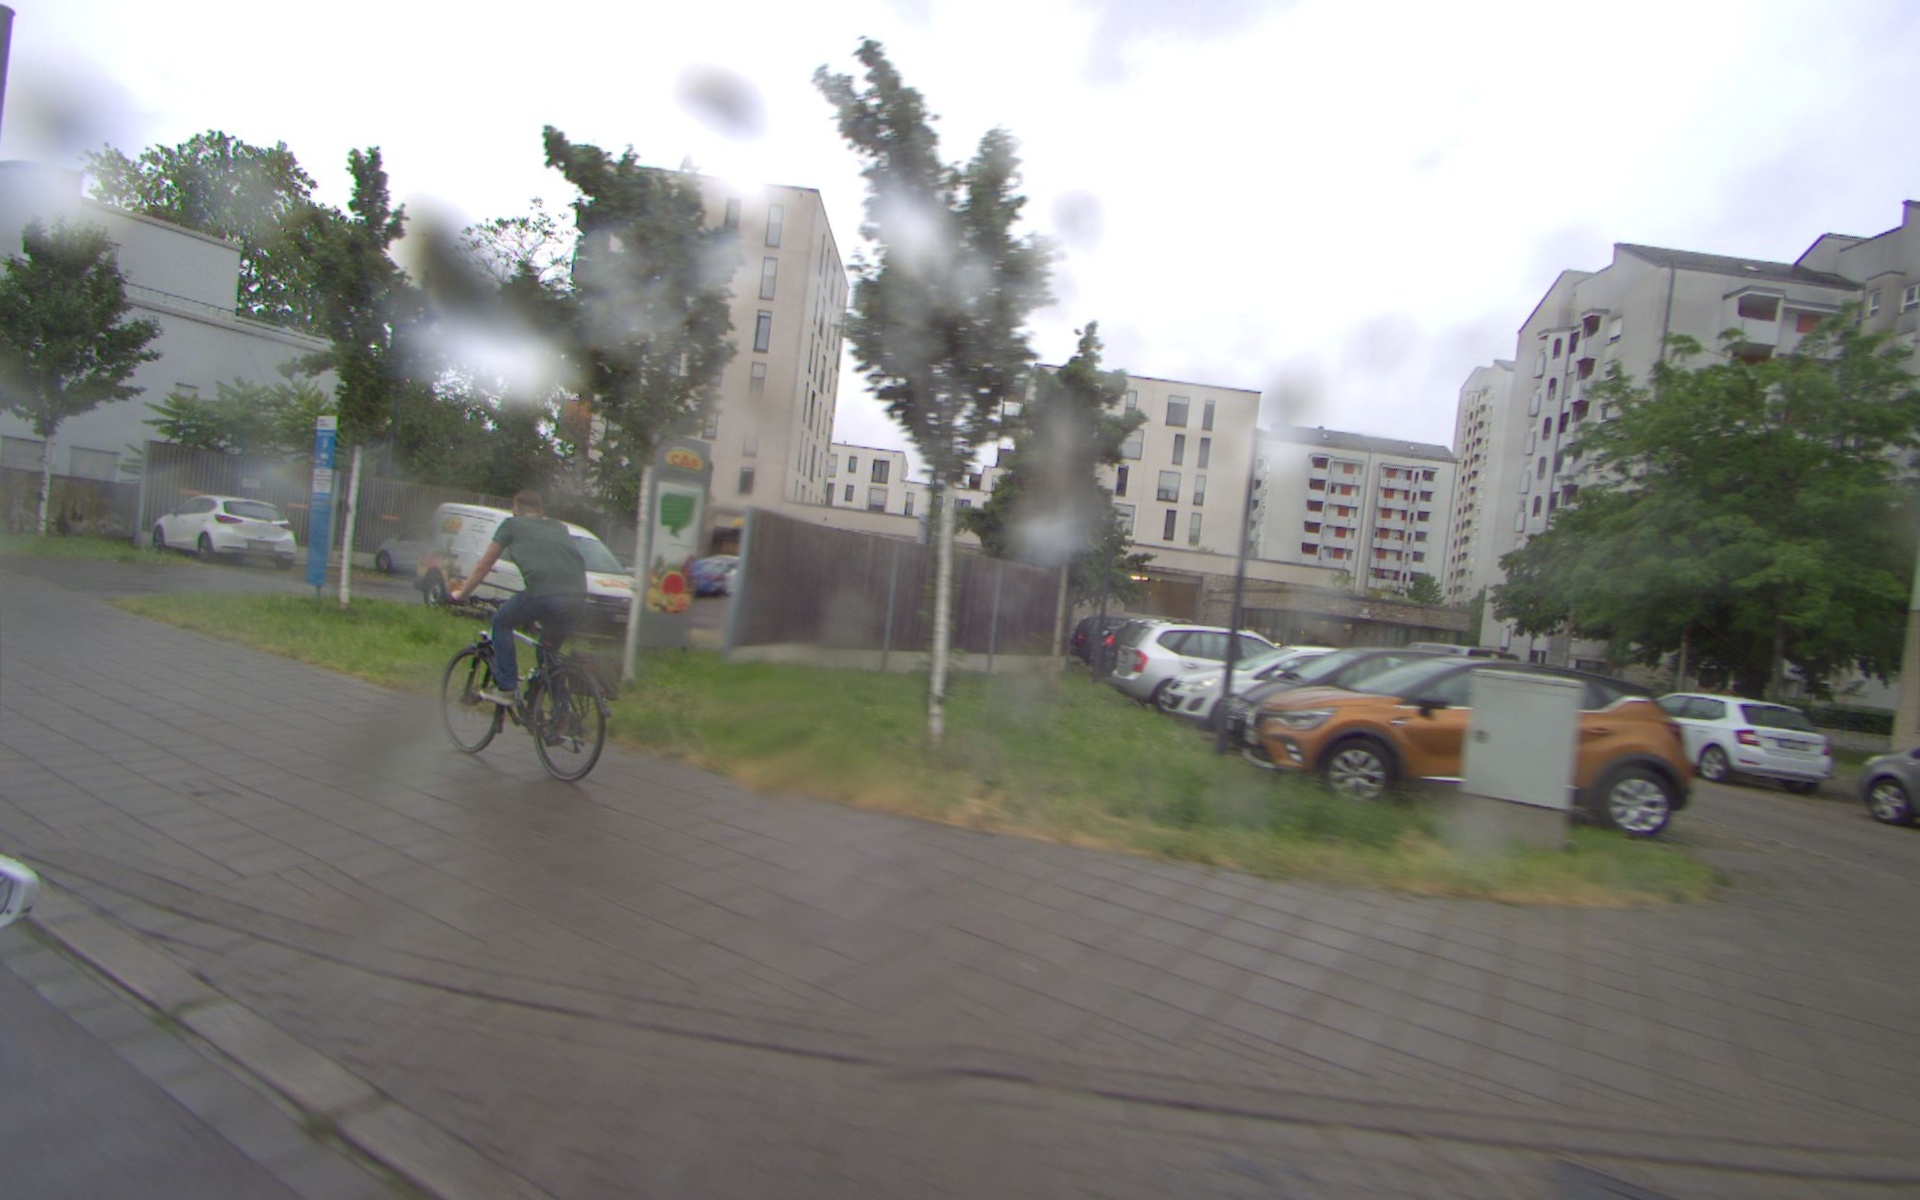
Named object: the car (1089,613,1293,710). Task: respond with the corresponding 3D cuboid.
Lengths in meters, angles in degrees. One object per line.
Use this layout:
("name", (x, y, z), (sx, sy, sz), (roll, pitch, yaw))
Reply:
("car", (5.492, 1.433, 24.305), (4.285, 1.629, 1.968), (8, 1, -3))

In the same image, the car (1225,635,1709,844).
("car", (5.045, 1.342, 10.536), (3.925, 1.459, 2.001), (7, 0, 3))

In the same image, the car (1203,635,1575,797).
("car", (5.442, 1.436, 13.233), (3.925, 1.459, 2.001), (7, 0, 3))

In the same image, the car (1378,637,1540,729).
("car", (13.394, 2.158, 27.336), (1.959, 1.941, 4.277), (8, 0, -1))

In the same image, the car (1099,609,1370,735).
("car", (4.957, 1.283, 18.630), (4.285, 1.606, 1.968), (8, 1, -3))

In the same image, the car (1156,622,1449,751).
("car", (5.320, 1.316, 16.108), (3.925, 1.459, 2.001), (7, 0, 3))

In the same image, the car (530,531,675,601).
("car", (-11.101, -1.057, 31.166), (4.293, 1.554, 1.964), (8, 1, 34))

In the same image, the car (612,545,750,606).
("car", (-10.100, -0.856, 36.611), (4.281, 1.554, 1.970), (8, 1, 5))

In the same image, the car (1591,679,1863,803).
("car", (13.381, 2.388, 17.889), (1.782, 1.492, 3.797), (8, 0, 1))

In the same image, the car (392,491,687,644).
("car", (-6.920, -0.572, 16.349), (4.818, 1.806, 1.965), (8, 1, 34))

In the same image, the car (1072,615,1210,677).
("car", (5.672, 1.429, 31.937), (3.925, 1.459, 2.000), (7, 0, 2))

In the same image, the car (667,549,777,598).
("car", (-10.622, -1.167, 45.136), (4.283, 1.554, 1.969), (8, 1, 0))

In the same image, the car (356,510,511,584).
("car", (-14.459, -1.460, 27.635), (3.600, 1.465, 1.967), (8, 1, 27))

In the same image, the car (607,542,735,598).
("car", (-11.374, -1.156, 39.769), (4.281, 1.554, 1.970), (8, 1, 5))

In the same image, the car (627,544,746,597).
("car", (-11.430, -1.225, 42.206), (4.281, 1.554, 1.970), (8, 1, 5))

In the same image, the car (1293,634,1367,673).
("car", (18.411, 2.631, 50.267), (1.963, 1.547, 3.999), (7, -1, -2))

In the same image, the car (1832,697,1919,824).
("car", (13.429, 2.254, 12.310), (1.782, 1.552, 4.113), (8, -1, 1))

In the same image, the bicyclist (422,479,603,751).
("bicyclist", (-2.822, 0.087, 6.362), (0.758, 1.579, 0.535), (7, 1, 24))

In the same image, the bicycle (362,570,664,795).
("bicycle", (-2.854, 0.473, 6.359), (1.914, 1.106, 0.537), (7, 0, 25))

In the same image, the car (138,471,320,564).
("car", (-16.861, -1.912, 23.146), (4.293, 1.554, 1.964), (8, 1, 34))
